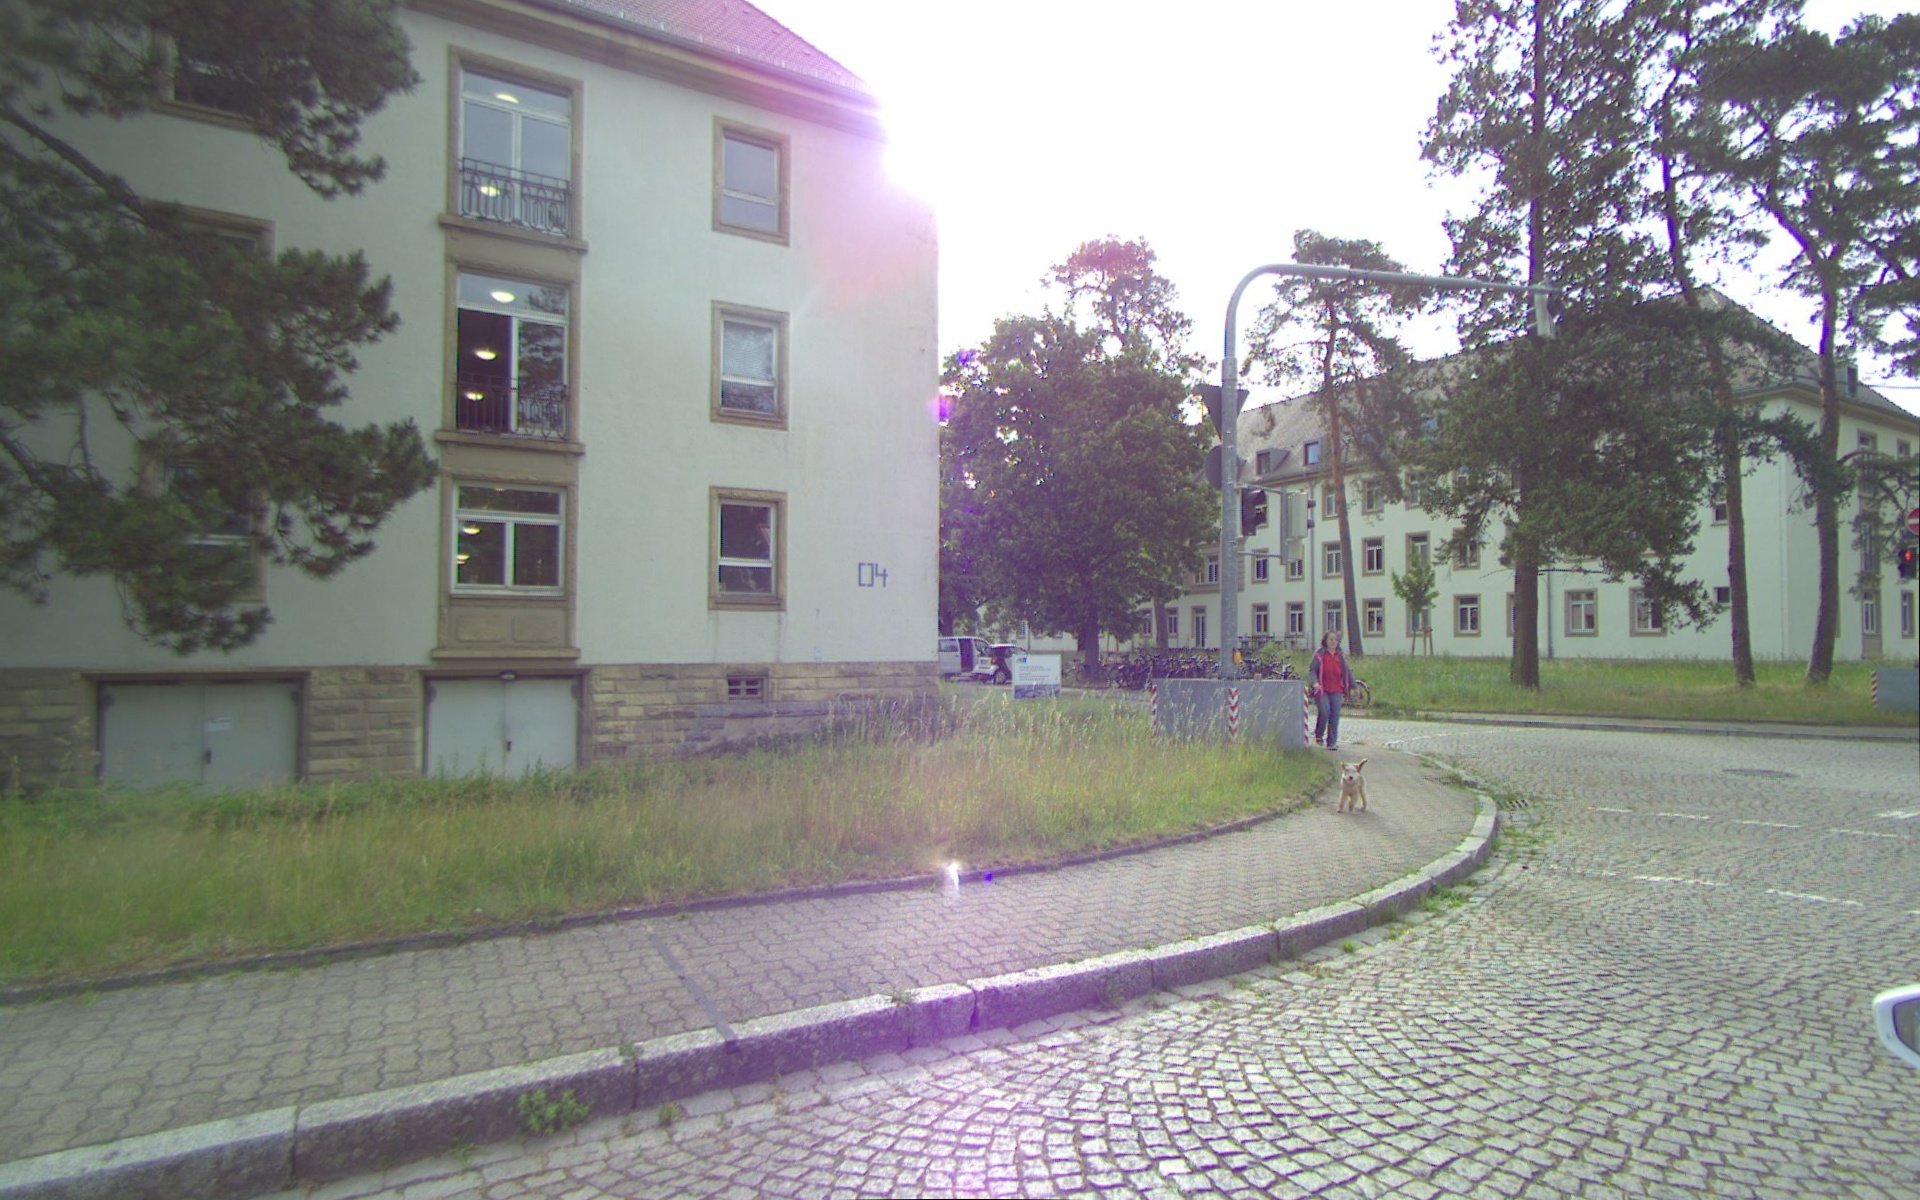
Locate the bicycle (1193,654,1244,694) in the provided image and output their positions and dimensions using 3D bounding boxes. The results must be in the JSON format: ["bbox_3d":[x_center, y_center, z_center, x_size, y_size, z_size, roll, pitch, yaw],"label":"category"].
[{"bbox_3d":[7.749,2.208,30.129,1.676,1.193,0.447,2,-3,-32],"label":"bicycle"}]

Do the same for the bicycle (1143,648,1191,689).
[{"bbox_3d":[6.626,2.186,32.128,1.676,1.300,0.447,2,-3,-32],"label":"bicycle"}]

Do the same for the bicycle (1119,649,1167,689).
[{"bbox_3d":[6.031,2.253,33.110,1.676,1.300,0.447,2,-3,-32],"label":"bicycle"}]

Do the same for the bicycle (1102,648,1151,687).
[{"bbox_3d":[5.630,2.269,33.956,1.807,1.300,0.447,2,-3,-32],"label":"bicycle"}]

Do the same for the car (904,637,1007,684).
[{"bbox_3d":[-0.183,2.564,43.071,4.086,1.932,1.831,2,-3,-30],"label":"car"}]

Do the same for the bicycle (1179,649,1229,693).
[{"bbox_3d":[7.491,2.168,30.805,1.676,1.300,0.447,2,-3,-32],"label":"bicycle"}]

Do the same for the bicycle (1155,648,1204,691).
[{"bbox_3d":[6.921,2.179,31.650,1.676,1.300,0.447,2,-3,-32],"label":"bicycle"}]

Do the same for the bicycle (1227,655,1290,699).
[{"bbox_3d":[8.563,2.189,28.775,1.932,1.193,0.572,2,-3,-32],"label":"bicycle"}]

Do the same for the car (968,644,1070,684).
[{"bbox_3d":[2.448,2.612,41.291,3.850,1.576,1.831,2,-3,-30],"label":"car"}]

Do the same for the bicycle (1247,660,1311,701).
[{"bbox_3d":[8.967,2.249,28.208,1.974,1.092,0.572,2,-3,-32],"label":"bicycle"}]

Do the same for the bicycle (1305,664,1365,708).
[{"bbox_3d":[9.239,2.108,24.816,0.447,1.009,1.453,1,-3,-28],"label":"bicycle"}]

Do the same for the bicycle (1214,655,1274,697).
[{"bbox_3d":[8.302,2.198,29.299,1.908,1.193,0.525,2,-3,-32],"label":"bicycle"}]

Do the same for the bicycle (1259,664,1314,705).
[{"bbox_3d":[8.475,2.180,26.133,0.447,1.009,1.453,1,-3,-28],"label":"bicycle"}]

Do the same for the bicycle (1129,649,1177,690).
[{"bbox_3d":[6.278,2.247,32.692,1.676,1.300,0.447,2,-3,-32],"label":"bicycle"}]

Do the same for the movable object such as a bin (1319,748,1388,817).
[{"bbox_3d":[3.616,1.661,9.214,0.437,0.510,0.750,-2,-3,34],"label":"movable object such as a bin"}]

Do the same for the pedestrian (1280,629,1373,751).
[{"bbox_3d":[5.285,1.275,14.526,0.925,1.690,0.859,1,-2,-17],"label":"pedestrian"}]

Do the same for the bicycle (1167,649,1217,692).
[{"bbox_3d":[7.210,2.174,31.223,1.676,1.300,0.447,2,-3,-32],"label":"bicycle"}]

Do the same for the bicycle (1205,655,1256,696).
[{"bbox_3d":[8.003,2.216,29.716,1.676,1.193,0.447,2,-3,-32],"label":"bicycle"}]

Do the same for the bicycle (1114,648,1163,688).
[{"bbox_3d":[5.969,2.267,33.620,1.765,1.300,0.440,2,-3,-32],"label":"bicycle"}]
